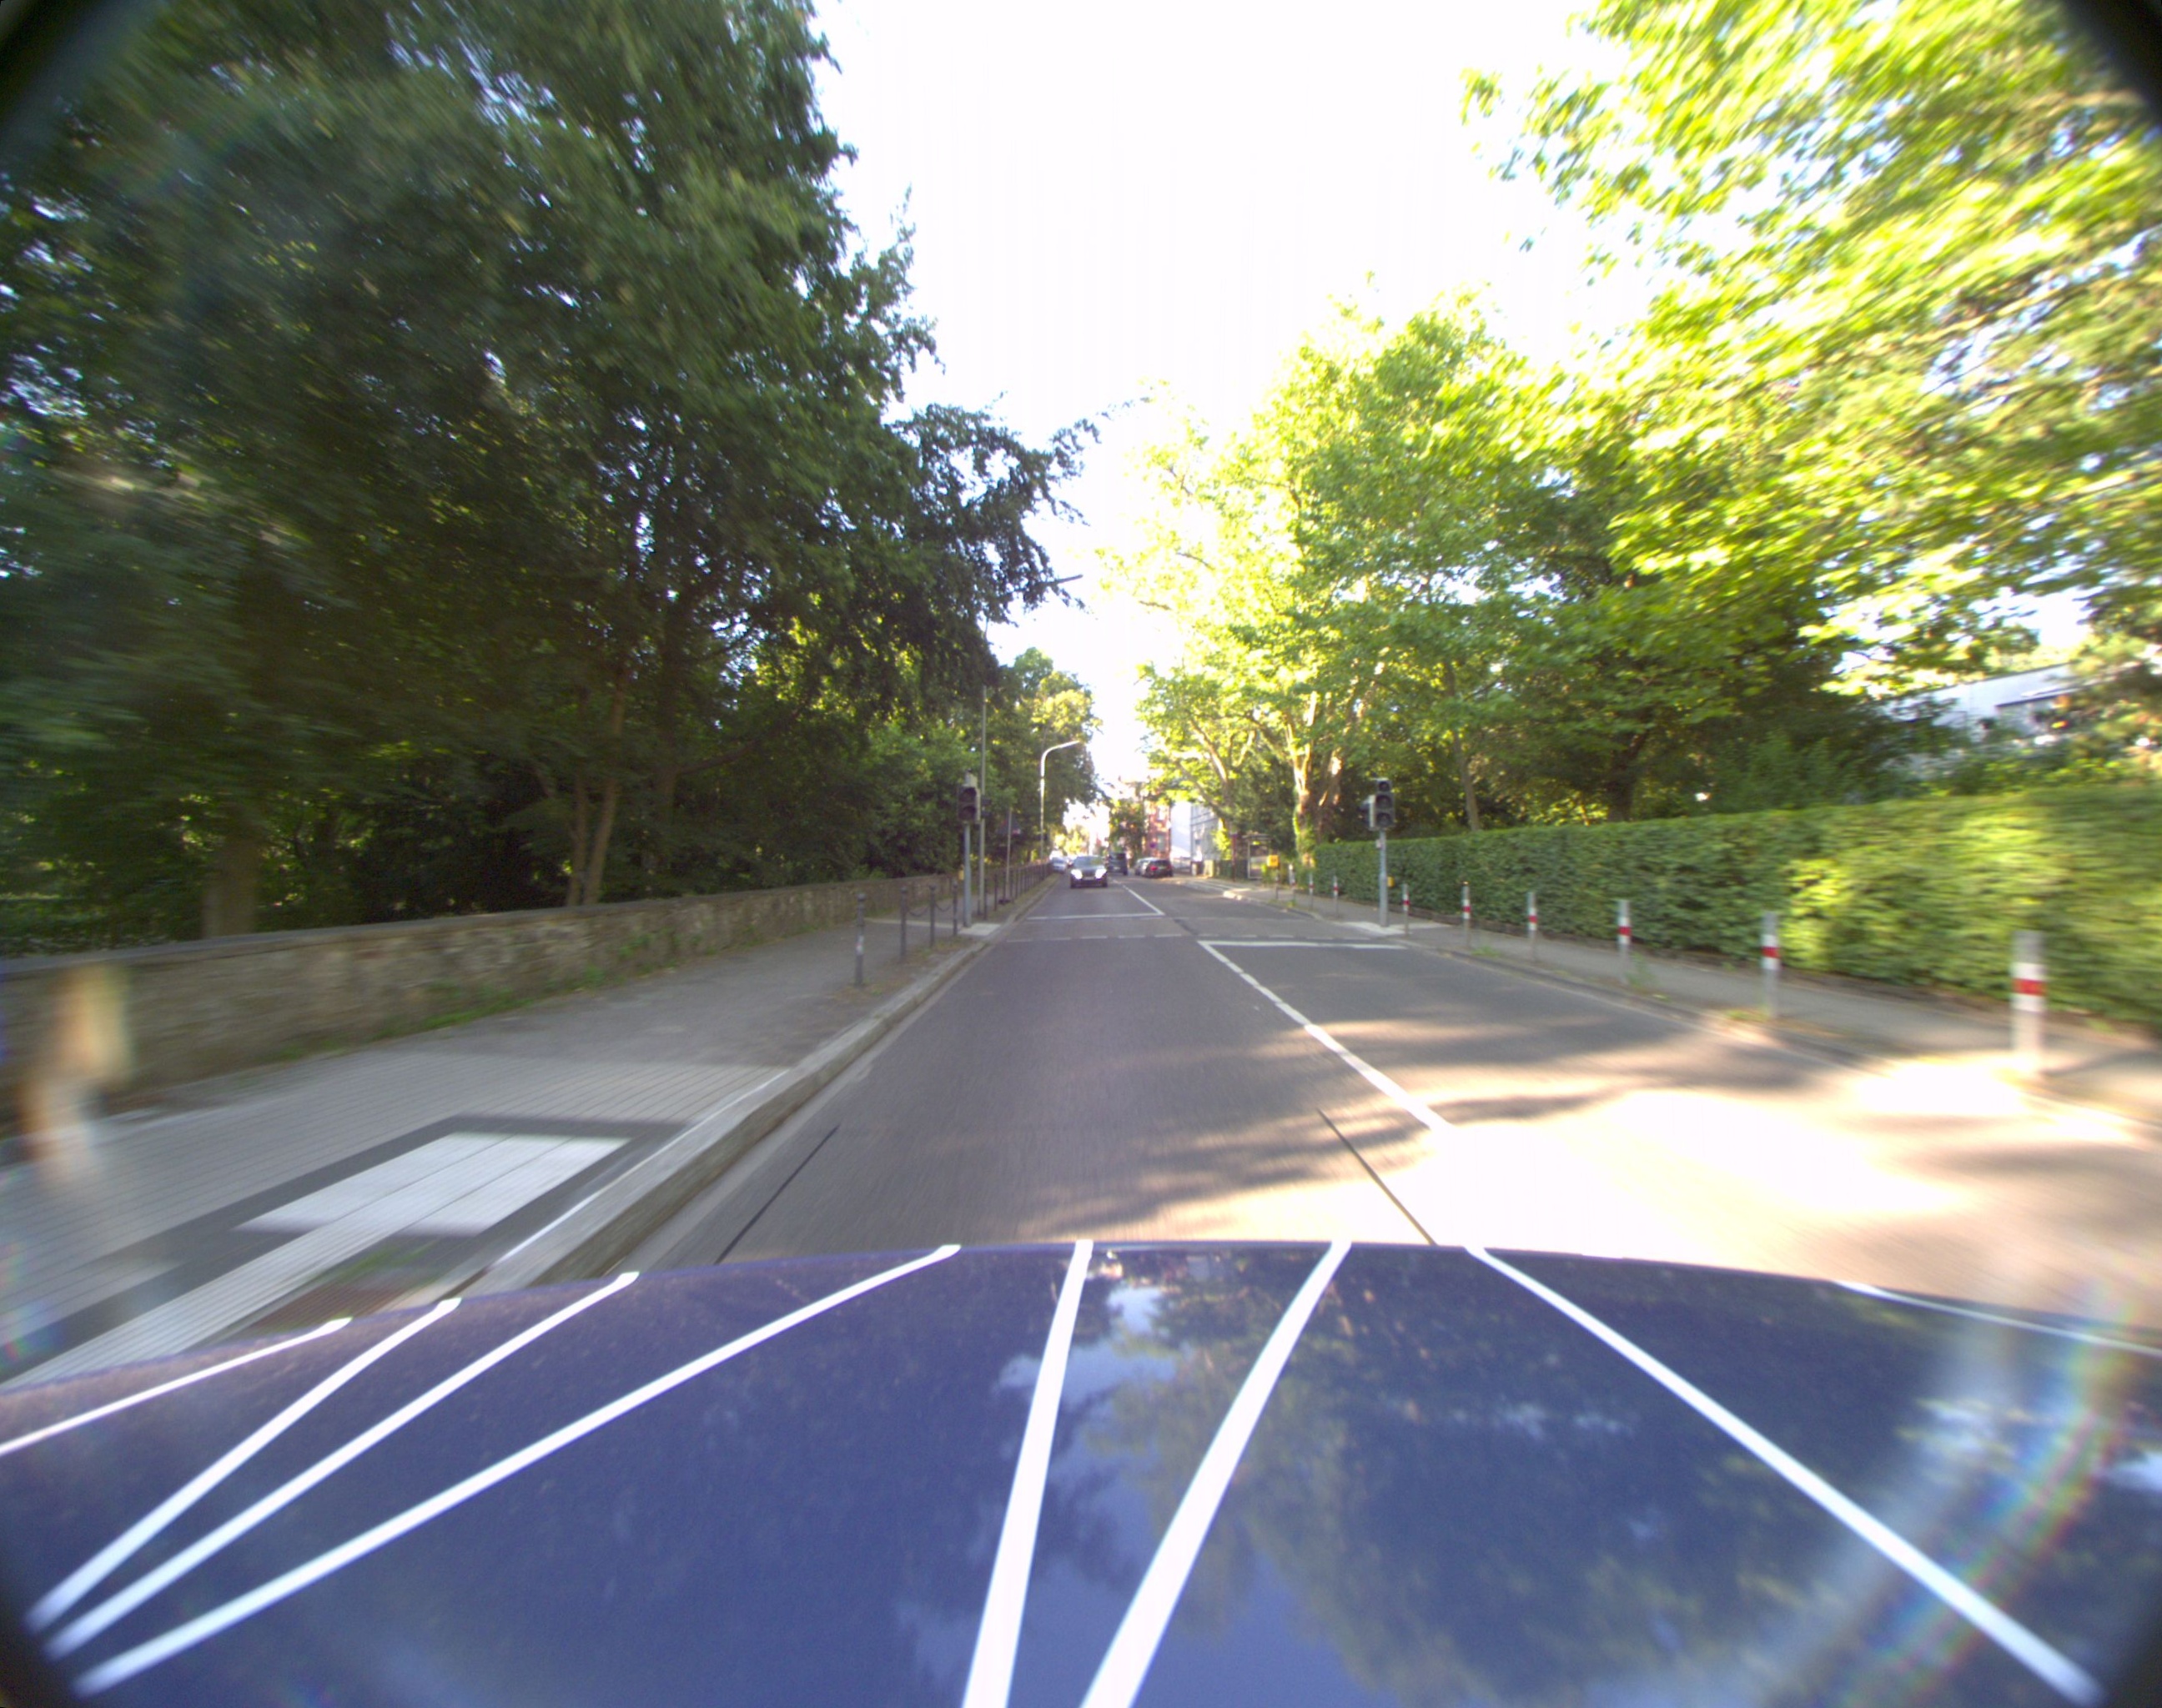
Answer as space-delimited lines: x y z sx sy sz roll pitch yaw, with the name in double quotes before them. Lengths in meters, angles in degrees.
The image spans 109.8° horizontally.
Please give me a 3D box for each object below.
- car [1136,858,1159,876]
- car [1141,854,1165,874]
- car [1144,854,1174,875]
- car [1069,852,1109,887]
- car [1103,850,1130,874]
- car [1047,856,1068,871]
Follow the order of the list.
"car" 5.795 1.136 66.412 1.628 1.425 3.559 -2 0 -1
"car" 5.782 0.799 61.296 1.628 1.537 3.322 -1 0 -1
"car" 5.758 0.770 56.216 1.689 1.425 3.616 -4 0 -1
"car" 0.465 0.768 39.562 1.936 1.676 4.433 -1 0 2
"car" 3.057 0.669 66.252 1.999 1.957 4.776 1 0 -2
"car" -2.352 0.902 74.383 1.824 1.375 3.933 2 1 -4
